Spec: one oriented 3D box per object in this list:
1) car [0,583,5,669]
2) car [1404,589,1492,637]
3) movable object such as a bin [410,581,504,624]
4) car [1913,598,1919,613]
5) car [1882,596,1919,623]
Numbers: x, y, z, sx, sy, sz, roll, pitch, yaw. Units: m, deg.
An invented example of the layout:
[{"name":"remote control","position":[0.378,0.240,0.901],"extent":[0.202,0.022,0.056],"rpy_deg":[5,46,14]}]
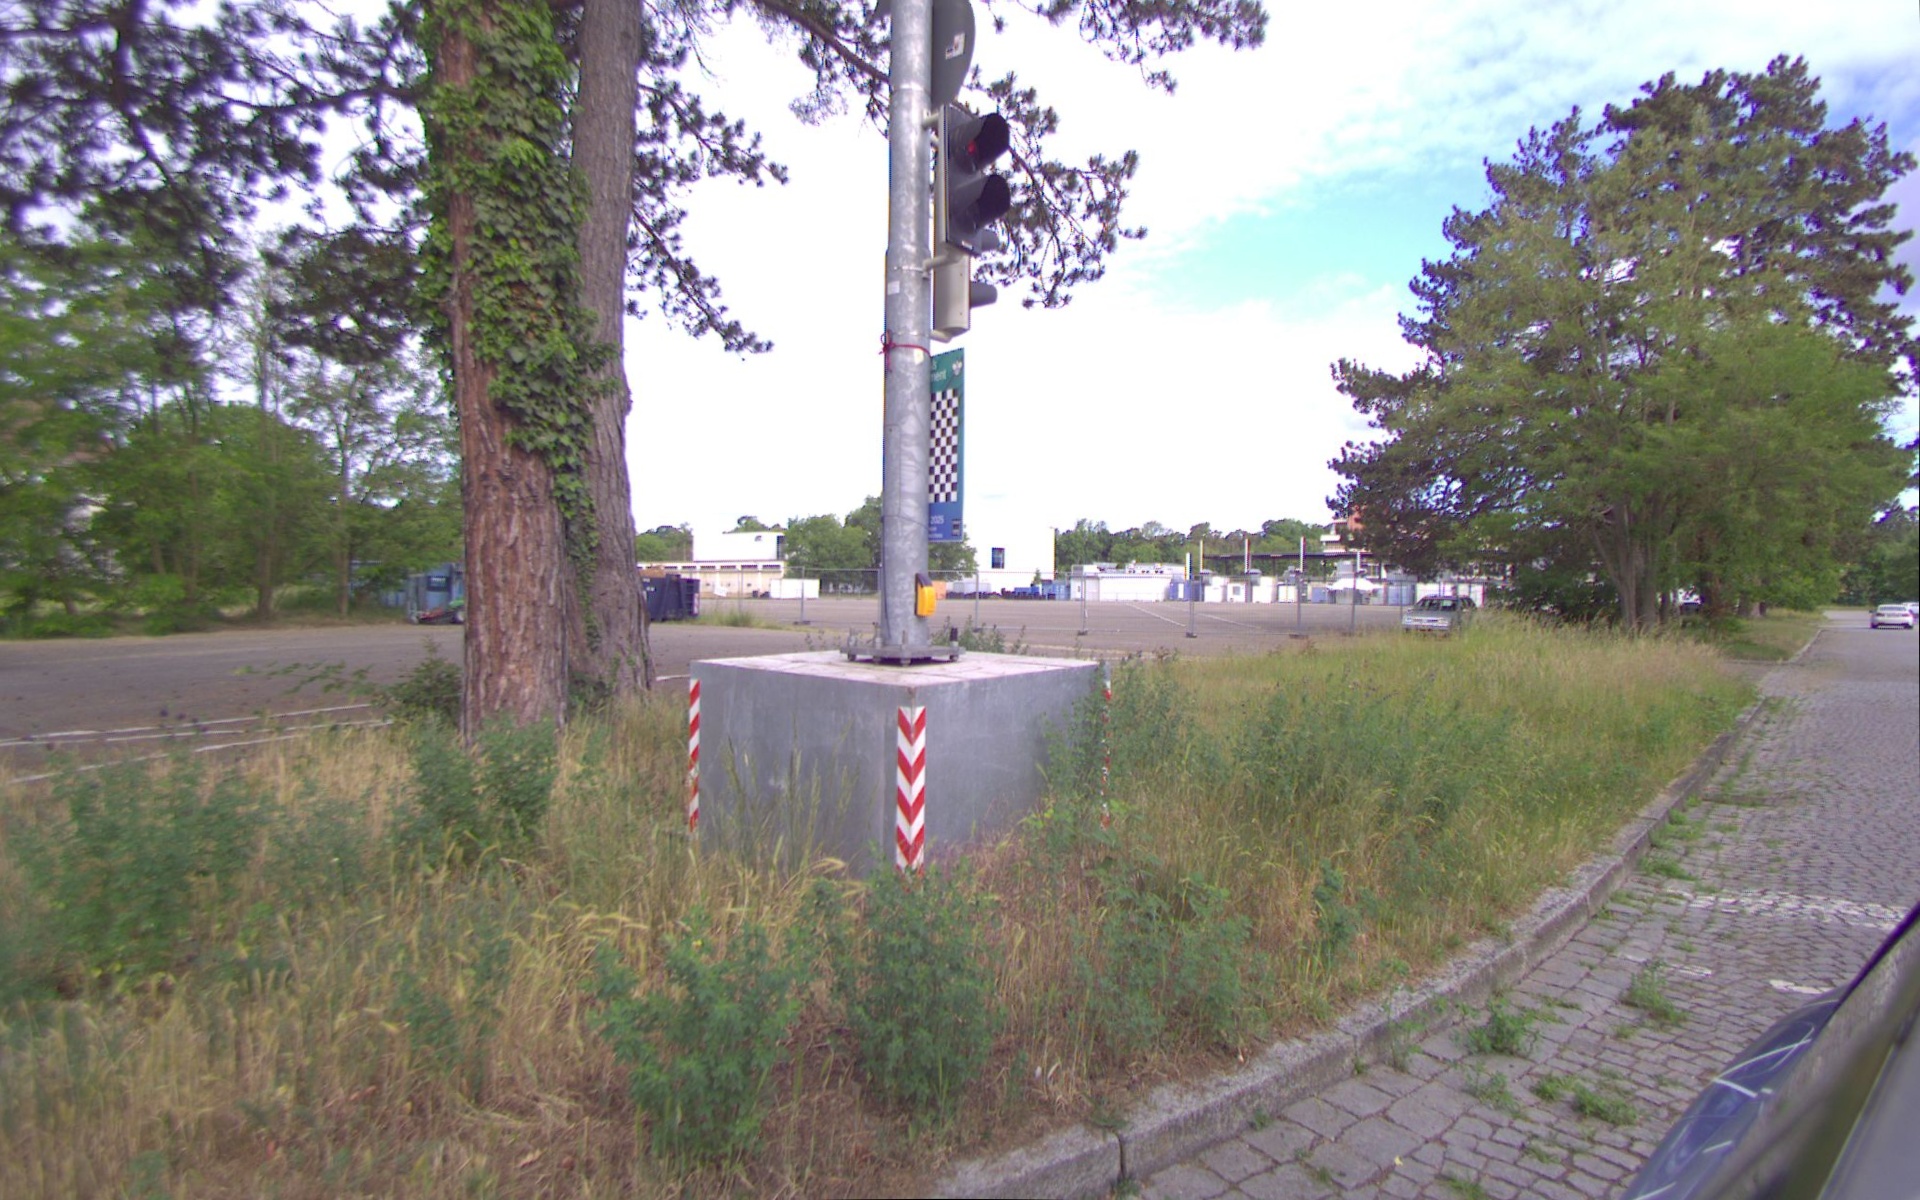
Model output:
[{"name":"car","position":[-15.400,0.319,12.835],"extent":[1.845,1.504,4.547],"rpy_deg":[-1,2,39]},{"name":"car","position":[16.342,0.383,33.769],"extent":[1.671,1.469,4.426],"rpy_deg":[1,1,39]},{"name":"movable object such as a bin","position":[-14.048,0.054,28.302],"extent":[0.956,1.149,2.187],"rpy_deg":[-1,0,33]},{"name":"car","position":[116.735,0.691,120.990],"extent":[4.049,1.800,1.766],"rpy_deg":[0,0,42]},{"name":"car","position":[55.976,0.541,59.868],"extent":[1.771,1.455,4.159],"rpy_deg":[5,3,39]}]
